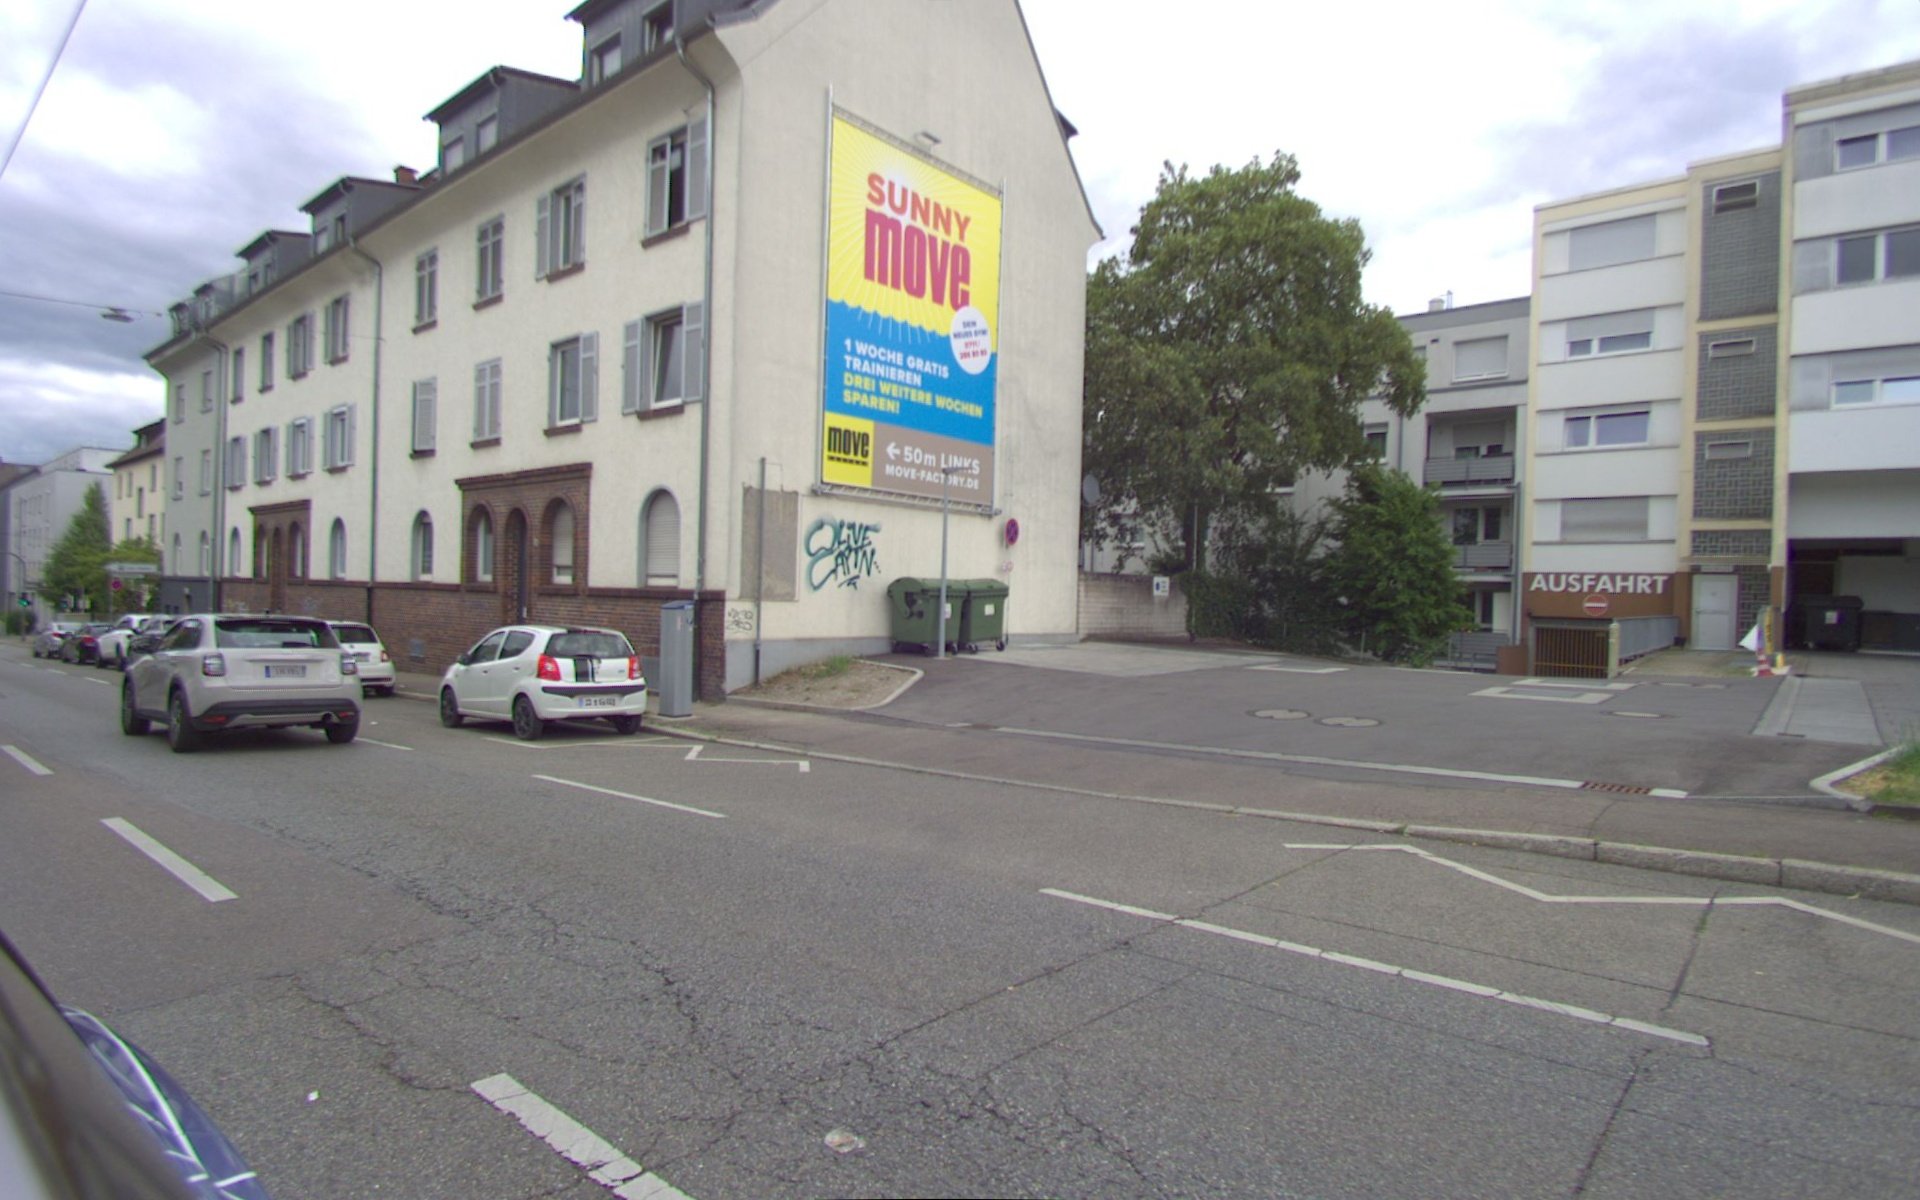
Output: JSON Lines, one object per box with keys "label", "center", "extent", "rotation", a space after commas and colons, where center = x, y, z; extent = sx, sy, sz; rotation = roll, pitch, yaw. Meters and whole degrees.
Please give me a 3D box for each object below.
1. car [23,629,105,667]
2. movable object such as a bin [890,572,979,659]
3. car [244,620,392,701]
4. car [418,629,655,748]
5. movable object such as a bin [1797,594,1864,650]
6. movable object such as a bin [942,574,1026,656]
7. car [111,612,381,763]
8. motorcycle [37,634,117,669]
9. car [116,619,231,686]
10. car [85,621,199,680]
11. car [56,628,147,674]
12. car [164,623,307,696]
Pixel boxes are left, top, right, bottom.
{"label": "car", "center": [-34.604, 1.830, 39.054], "extent": [4.334, 1.384, 1.709], "rotation": [-1, -3, 40]}
{"label": "movable object such as a bin", "center": [-0.468, 0.314, 18.881], "extent": [1.104, 1.550, 1.251], "rotation": [-1, -3, 41]}
{"label": "car", "center": [-12.969, 1.167, 20.385], "extent": [3.602, 1.486, 1.531], "rotation": [-1, -2, 41]}
{"label": "car", "center": [-5.952, 1.132, 14.057], "extent": [3.663, 1.436, 1.602], "rotation": [-2, -3, 42]}
{"label": "movable object such as a bin", "center": [22.215, 0.561, 25.853], "extent": [1.242, 1.384, 1.139], "rotation": [-1, -1, 39]}
{"label": "movable object such as a bin", "center": [0.474, 0.324, 19.918], "extent": [1.104, 1.550, 1.251], "rotation": [-1, -3, 41]}
{"label": "car", "center": [-8.799, 0.957, 12.358], "extent": [3.998, 1.536, 1.779], "rotation": [-1, -3, 41]}
{"label": "motorcycle", "center": [-32.176, 1.883, 36.914], "extent": [0.802, 1.245, 2.030], "rotation": [-1, -4, 23]}
{"label": "car", "center": [-20.775, 1.335, 26.678], "extent": [4.502, 1.611, 1.708], "rotation": [-2, -3, 43]}
{"label": "car", "center": [-24.651, 1.481, 30.450], "extent": [4.640, 1.634, 1.826], "rotation": [-1, -3, 40]}
{"label": "car", "center": [-29.017, 1.687, 34.160], "extent": [4.189, 1.440, 1.709], "rotation": [-2, -3, 41]}
{"label": "car", "center": [-16.927, 1.350, 23.577], "extent": [4.079, 1.570, 1.709], "rotation": [-1, -4, 41]}
